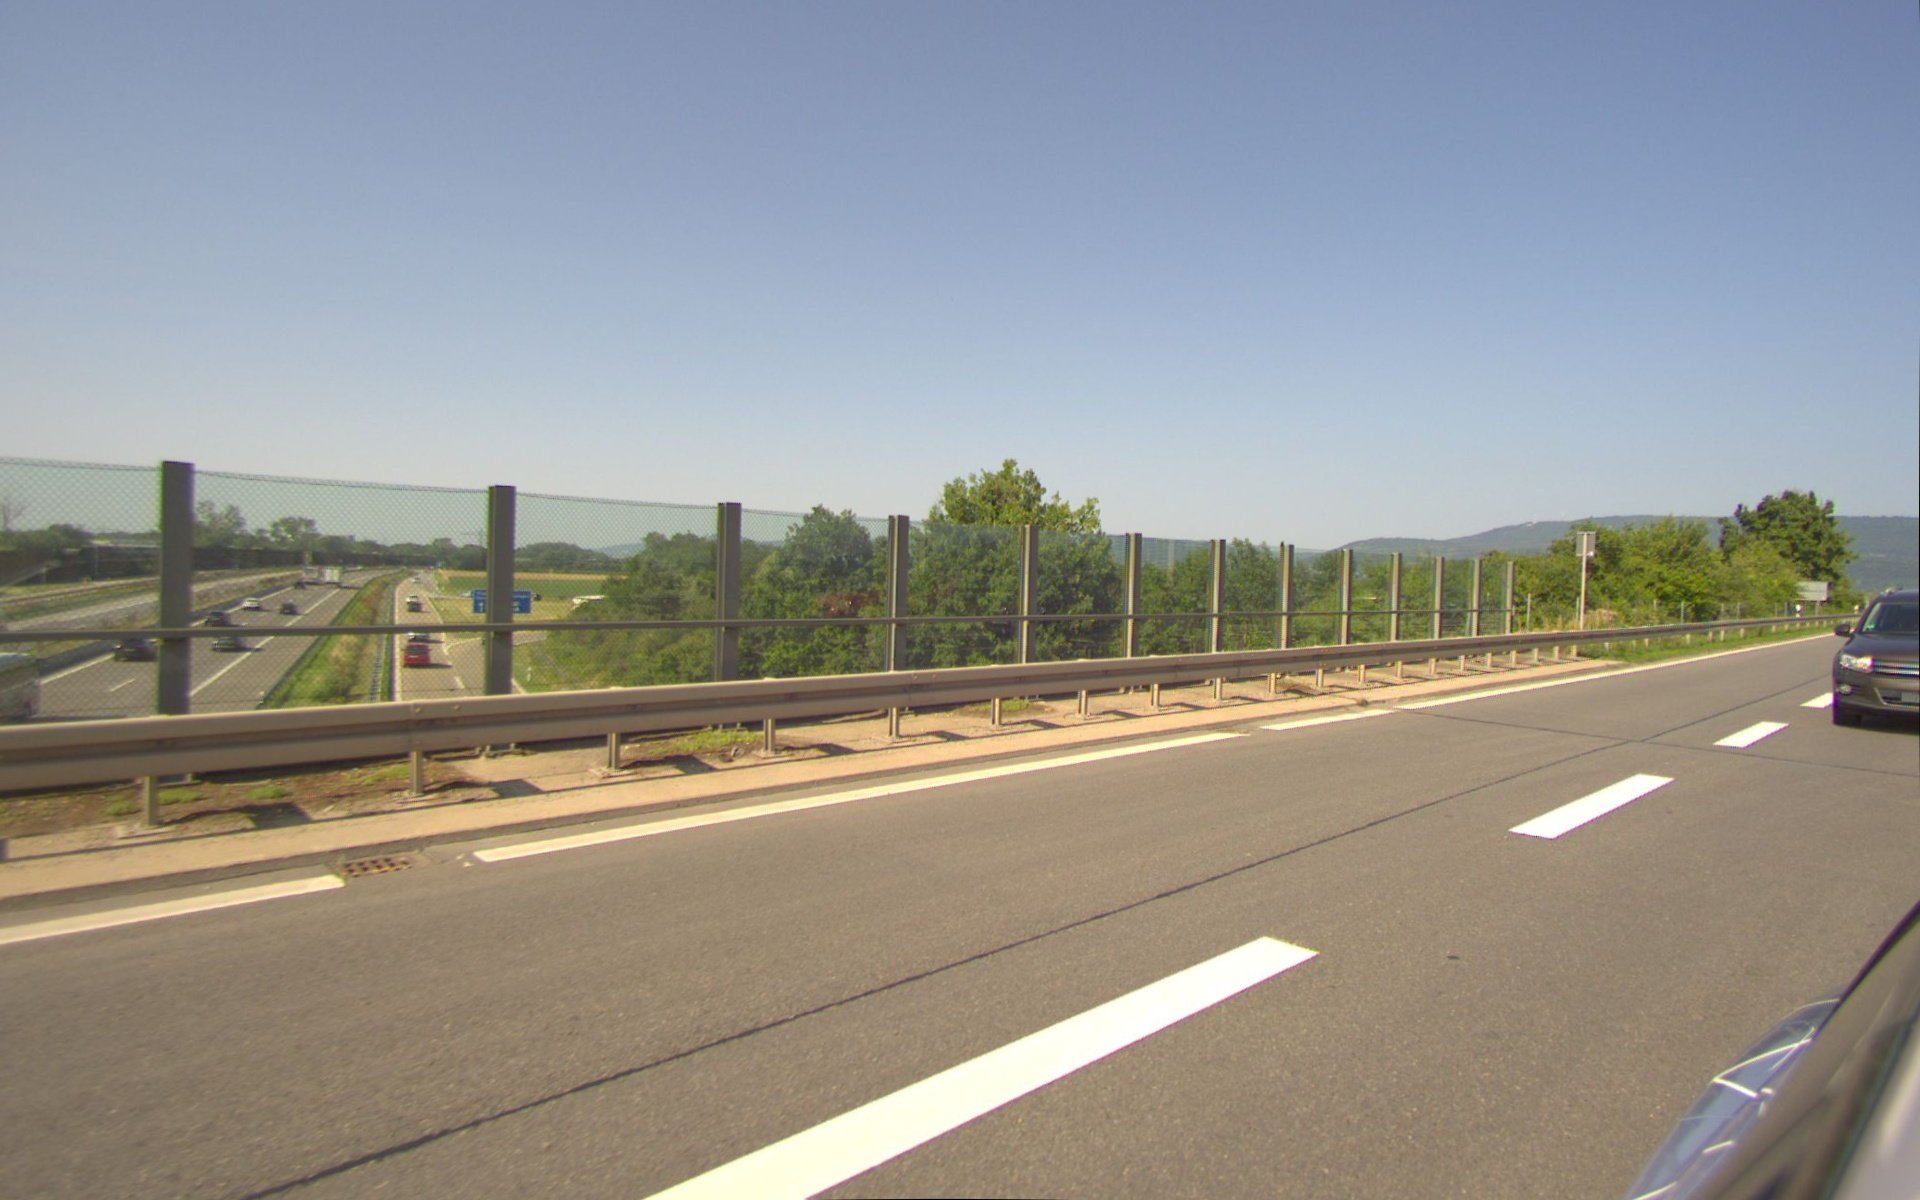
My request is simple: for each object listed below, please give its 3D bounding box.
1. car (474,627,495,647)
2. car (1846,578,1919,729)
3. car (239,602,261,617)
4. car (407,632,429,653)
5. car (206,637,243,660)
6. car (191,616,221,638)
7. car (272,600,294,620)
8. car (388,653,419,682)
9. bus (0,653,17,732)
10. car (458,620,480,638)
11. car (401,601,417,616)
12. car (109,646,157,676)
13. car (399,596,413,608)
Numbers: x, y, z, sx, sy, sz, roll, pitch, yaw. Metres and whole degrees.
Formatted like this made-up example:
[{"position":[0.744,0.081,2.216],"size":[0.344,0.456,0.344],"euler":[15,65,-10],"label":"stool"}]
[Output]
[{"position":[-46.795,3.628,99.543],"size":[1.813,1.705,4.006],"euler":[0,1,-26],"label":"car"},{"position":[12.288,0.598,12.287],"size":[4.075,1.667,1.788],"euler":[0,1,-41],"label":"car"},{"position":[-88.859,1.168,126.653],"size":[1.841,1.786,4.005],"euler":[0,0,-29],"label":"car"},{"position":[-52.068,4.061,97.226],"size":[1.744,1.794,4.006],"euler":[0,0,-27],"label":"car"},{"position":[-57.848,3.790,79.656],"size":[1.850,1.672,4.004],"euler":[0,0,-29],"label":"car"},{"position":[-75.137,2.691,100.919],"size":[1.841,2.037,4.005],"euler":[0,0,-28],"label":"car"},{"position":[-82.629,1.226,123.494],"size":[1.842,2.388,4.723],"euler":[0,0,-30],"label":"car"},{"position":[-39.496,4.775,71.938],"size":[1.841,1.786,4.005],"euler":[0,0,-28],"label":"car"},{"position":[-40.699,4.017,40.530],"size":[2.499,3.203,8.398],"euler":[0,0,-31],"label":"bus"},{"position":[-52.538,3.113,108.256],"size":[1.814,1.705,4.004],"euler":[0,1,-30],"label":"car"},{"position":[-80.110,1.205,147.161],"size":[1.960,2.039,4.004],"euler":[0,0,-30],"label":"car"},{"position":[-57.383,4.211,70.276],"size":[1.841,1.786,4.005],"euler":[0,0,-28],"label":"car"},{"position":[-93.482,0.312,170.745],"size":[1.960,2.039,4.004],"euler":[0,0,-30],"label":"car"}]
